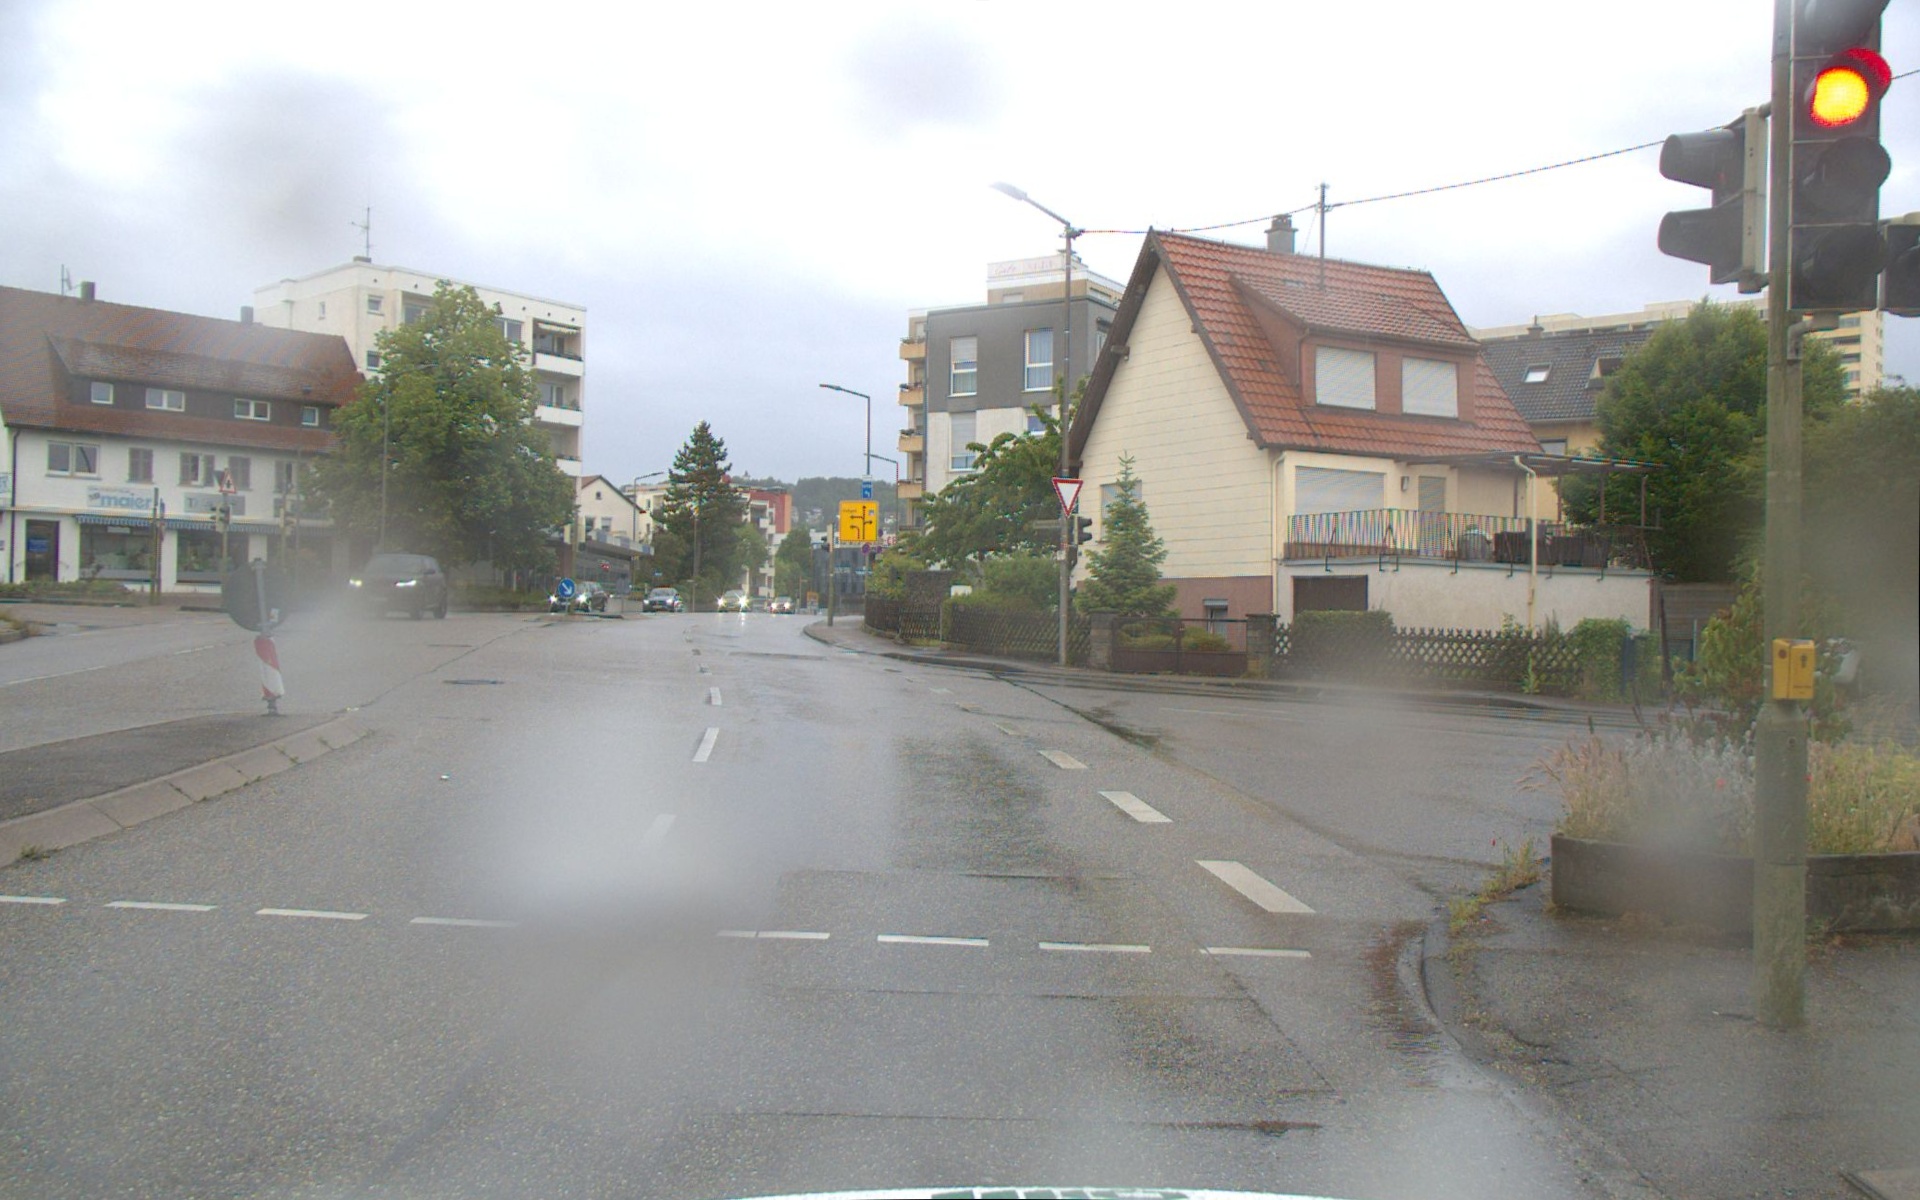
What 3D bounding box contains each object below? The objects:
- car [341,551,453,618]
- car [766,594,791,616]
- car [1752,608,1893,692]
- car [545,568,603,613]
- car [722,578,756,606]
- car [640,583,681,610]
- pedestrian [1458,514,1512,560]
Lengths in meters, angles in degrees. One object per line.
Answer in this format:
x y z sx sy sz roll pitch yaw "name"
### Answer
-16.068 -0.414 47.472 1.956 1.768 5.173 1 0 -7 "car"
-15.543 0.446 141.755 1.955 1.843 3.995 1 0 -5 "car"
15.631 0.861 29.873 1.780 1.386 3.986 1 0 35 "car"
-17.287 -0.412 74.217 1.955 1.937 3.995 1 0 -5 "car"
-14.148 -0.473 105.894 1.955 1.708 3.995 1 0 -5 "car"
-17.284 -0.178 95.538 1.955 1.489 3.995 1 0 -5 "car"
11.161 -1.338 35.174 0.902 0.898 0.632 1 -2 -20 "pedestrian"
